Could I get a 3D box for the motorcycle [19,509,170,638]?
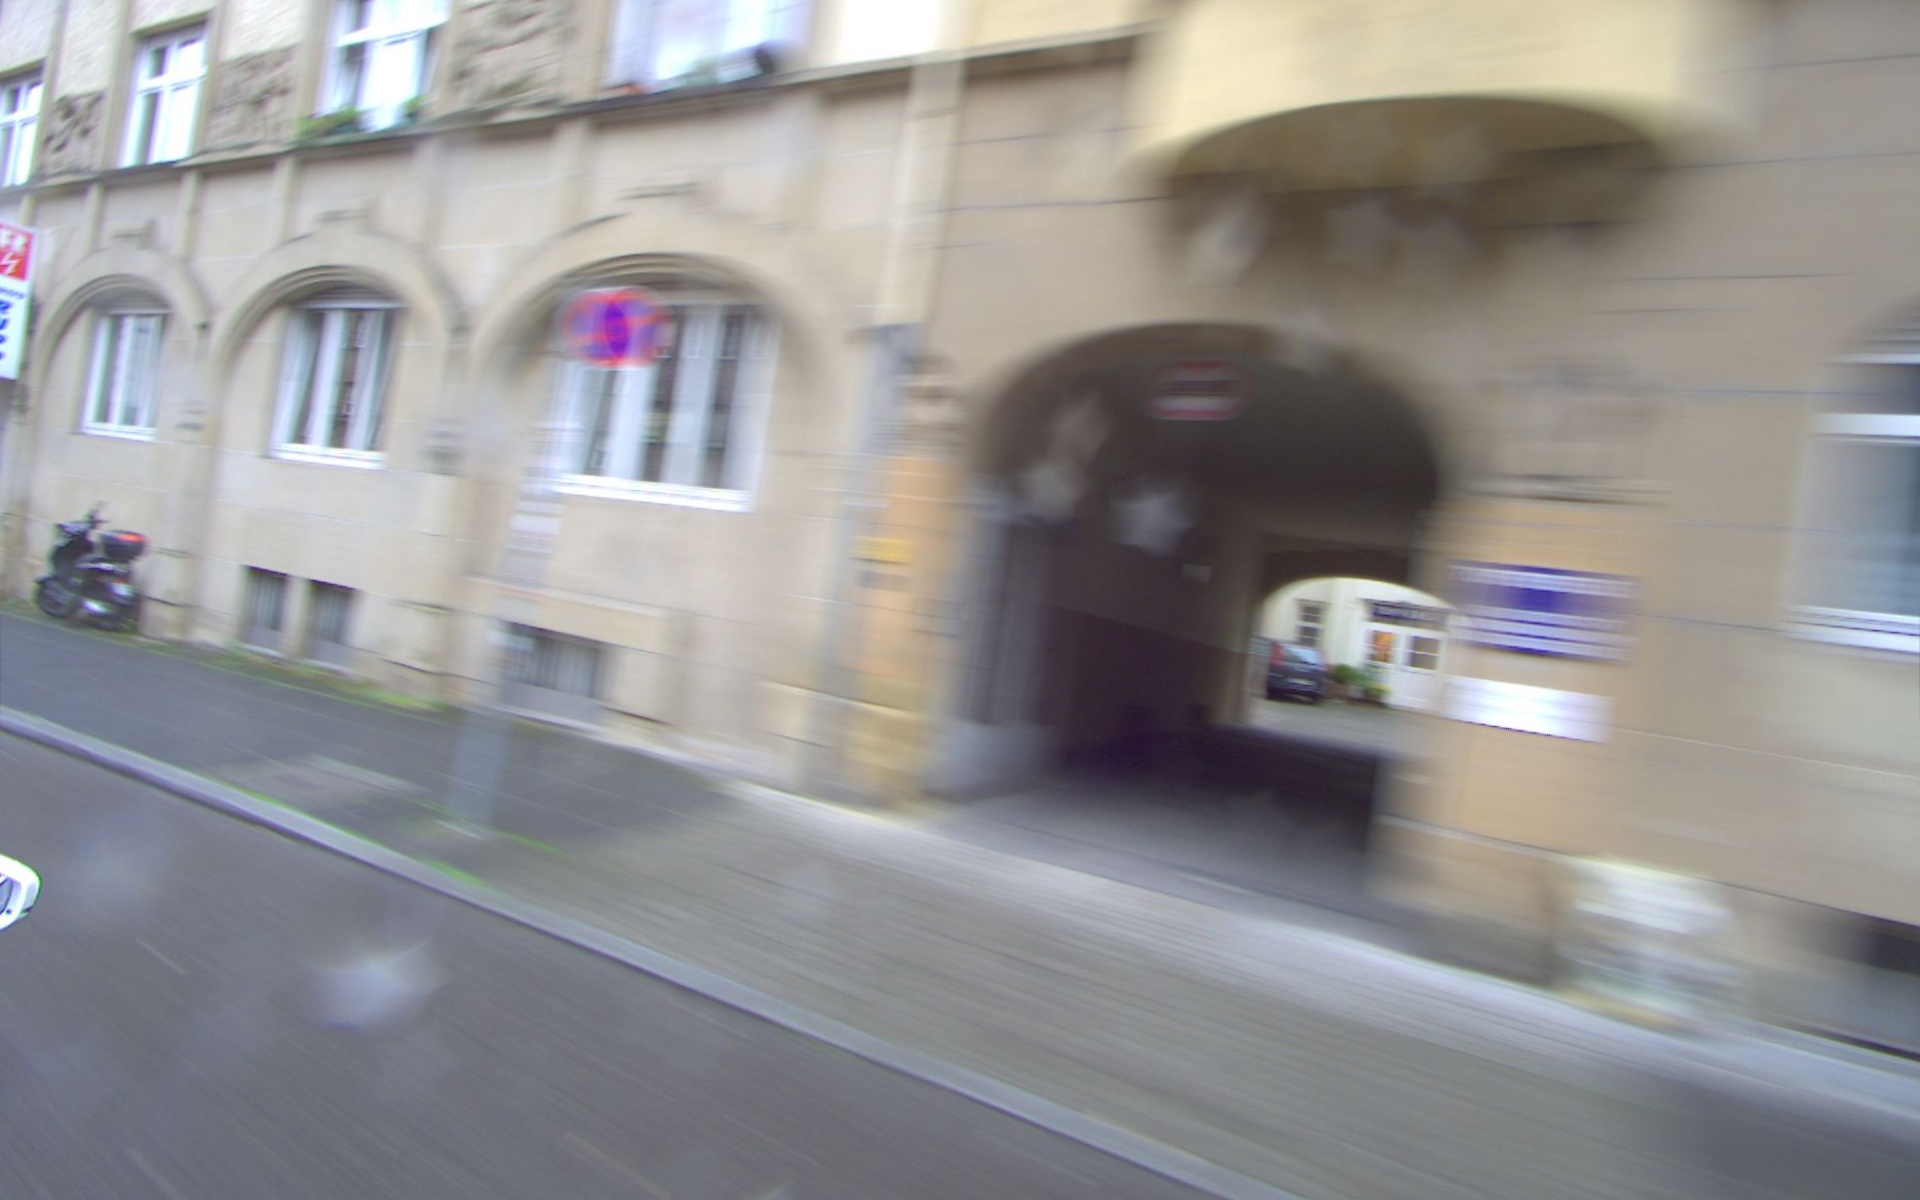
[{"bbox_3d":[-9.677,-0.313,11.235,1.748,1.255,0.690,7,5,28],"label":"motorcycle"}]
